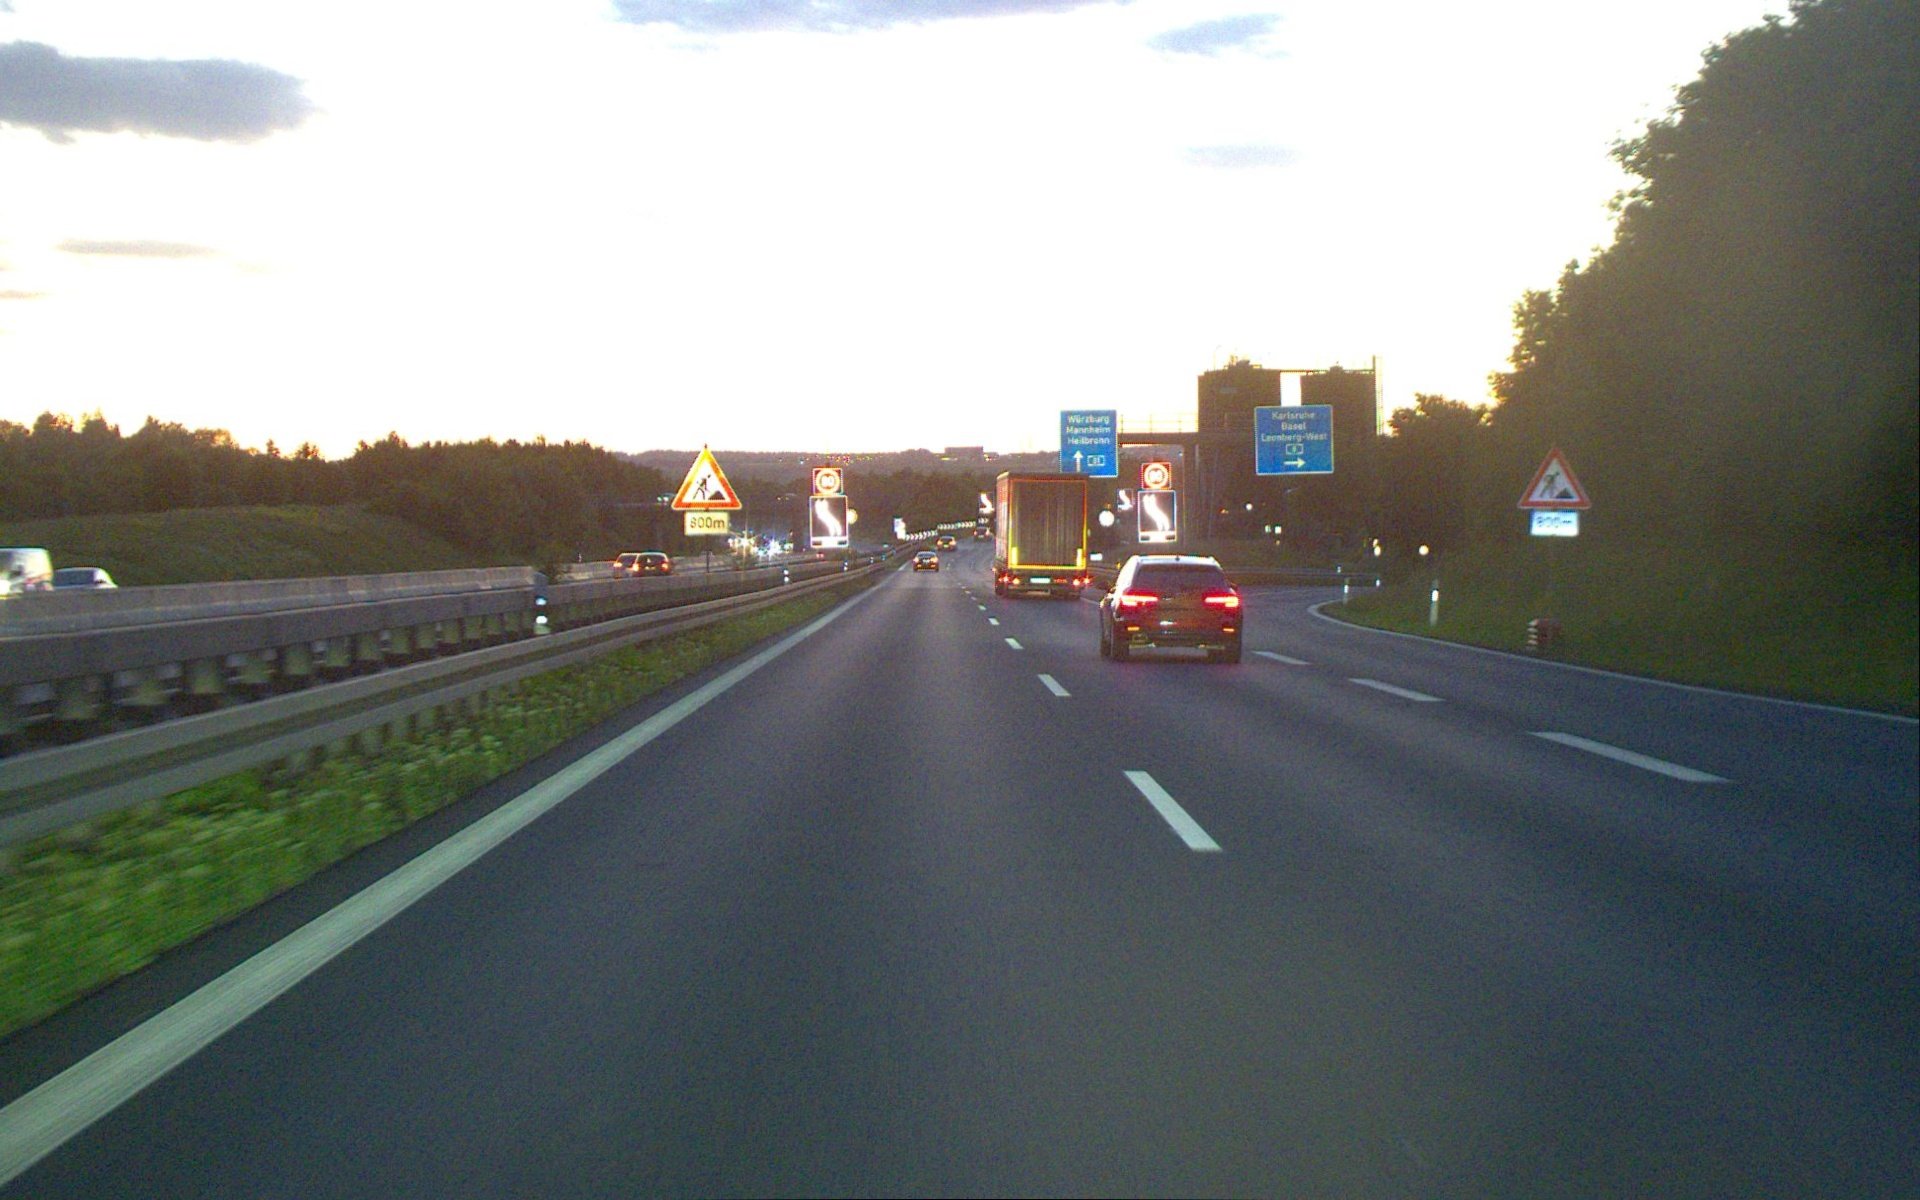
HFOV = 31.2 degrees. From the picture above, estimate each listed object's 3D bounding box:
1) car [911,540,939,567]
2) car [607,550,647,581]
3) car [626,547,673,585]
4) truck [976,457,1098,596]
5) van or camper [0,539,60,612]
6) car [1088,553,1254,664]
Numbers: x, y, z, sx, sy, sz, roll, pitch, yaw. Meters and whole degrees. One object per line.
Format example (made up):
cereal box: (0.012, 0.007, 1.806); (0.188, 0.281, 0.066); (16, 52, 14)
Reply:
car: (-2.579, -3.456, 255.877); (1.993, 2.007, 4.000); (-2, 1, -1)
car: (-16.730, -1.737, 172.691); (1.638, 1.541, 3.395); (-2, 1, 0)
car: (-13.662, -1.506, 151.483); (1.713, 1.600, 3.722); (-2, 1, 0)
truck: (2.439, -2.362, 112.831); (3.509, 4.286, 9.892); (-2, 1, -1)
van or camper: (-25.462, -0.675, 91.248); (1.890, 1.900, 5.541); (0, 1, -2)
car: (2.903, 0.097, 47.999); (1.915, 1.437, 4.000); (-2, 1, -2)
